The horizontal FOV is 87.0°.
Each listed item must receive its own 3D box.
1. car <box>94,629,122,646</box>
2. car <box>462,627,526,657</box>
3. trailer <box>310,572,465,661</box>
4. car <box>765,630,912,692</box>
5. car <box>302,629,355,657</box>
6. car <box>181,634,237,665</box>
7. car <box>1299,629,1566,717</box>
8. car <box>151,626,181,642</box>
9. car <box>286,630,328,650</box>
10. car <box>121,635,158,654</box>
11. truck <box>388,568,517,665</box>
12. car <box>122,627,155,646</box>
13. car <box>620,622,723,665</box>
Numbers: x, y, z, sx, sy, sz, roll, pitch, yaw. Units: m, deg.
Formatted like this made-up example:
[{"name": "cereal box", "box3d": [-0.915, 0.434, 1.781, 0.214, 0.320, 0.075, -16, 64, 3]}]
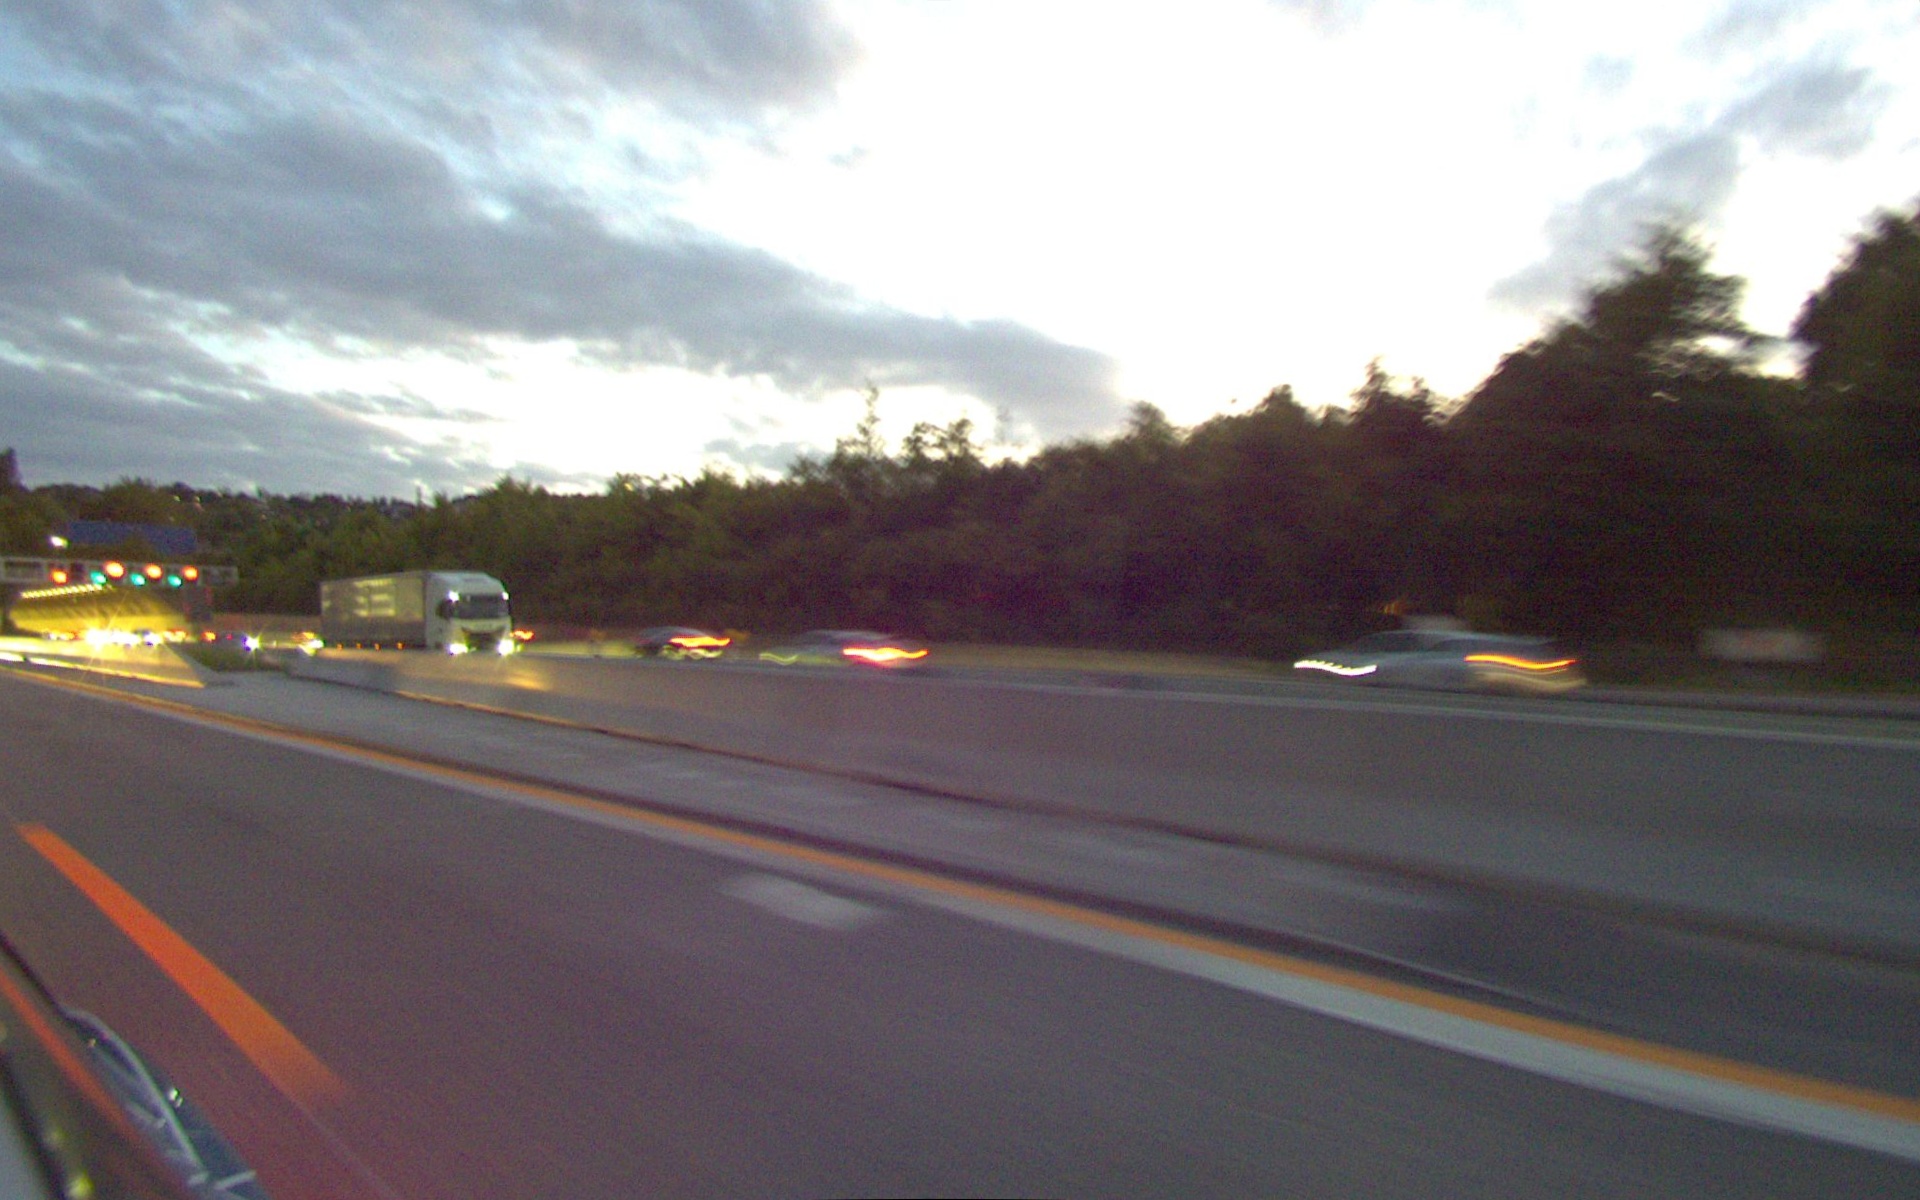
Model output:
[{"name": "car", "box3d": [-79.449, 3.506, 94.354, 3.823, 1.492, 1.490, -1, 0, 42]}, {"name": "car", "box3d": [-28.563, 2.526, 61.969, 4.750, 1.650, 1.785, -1, 0, 42]}, {"name": "trailer", "box3d": [-27.604, 0.745, 48.427, 11.831, 3.811, 2.769, -1, 0, 42]}, {"name": "car", "box3d": [-3.829, 1.823, 31.274, 4.890, 1.650, 1.718, -1, 0, 42]}, {"name": "car", "box3d": [-40.876, 2.731, 65.511, 4.750, 1.650, 1.661, -1, 0, 42]}, {"name": "car", "box3d": [-49.968, 3.254, 67.306, 4.699, 1.898, 2.069, -1, 0, 41]}, {"name": "car", "box3d": [10.180, 1.490, 22.135, 5.035, 1.616, 1.574, -1, 0, 44]}, {"name": "car", "box3d": [-89.200, 3.848, 113.681, 4.700, 1.675, 1.791, -1, 0, 42]}, {"name": "car", "box3d": [-56.139, 3.405, 86.959, 4.700, 1.496, 1.806, -1, 0, 42]}, {"name": "car", "box3d": [-69.005, 3.734, 85.133, 3.998, 1.492, 1.768, -1, 0, 41]}, {"name": "truck", "box3d": [-21.693, 0.661, 43.139, 6.301, 3.803, 2.773, -1, 0, 42]}, {"name": "car", "box3d": [-83.679, 3.710, 103.027, 4.806, 1.751, 1.881, -1, 0, 42]}, {"name": "car", "box3d": [-12.302, 1.800, 42.906, 5.169, 1.650, 1.718, -1, 0, 42]}]
